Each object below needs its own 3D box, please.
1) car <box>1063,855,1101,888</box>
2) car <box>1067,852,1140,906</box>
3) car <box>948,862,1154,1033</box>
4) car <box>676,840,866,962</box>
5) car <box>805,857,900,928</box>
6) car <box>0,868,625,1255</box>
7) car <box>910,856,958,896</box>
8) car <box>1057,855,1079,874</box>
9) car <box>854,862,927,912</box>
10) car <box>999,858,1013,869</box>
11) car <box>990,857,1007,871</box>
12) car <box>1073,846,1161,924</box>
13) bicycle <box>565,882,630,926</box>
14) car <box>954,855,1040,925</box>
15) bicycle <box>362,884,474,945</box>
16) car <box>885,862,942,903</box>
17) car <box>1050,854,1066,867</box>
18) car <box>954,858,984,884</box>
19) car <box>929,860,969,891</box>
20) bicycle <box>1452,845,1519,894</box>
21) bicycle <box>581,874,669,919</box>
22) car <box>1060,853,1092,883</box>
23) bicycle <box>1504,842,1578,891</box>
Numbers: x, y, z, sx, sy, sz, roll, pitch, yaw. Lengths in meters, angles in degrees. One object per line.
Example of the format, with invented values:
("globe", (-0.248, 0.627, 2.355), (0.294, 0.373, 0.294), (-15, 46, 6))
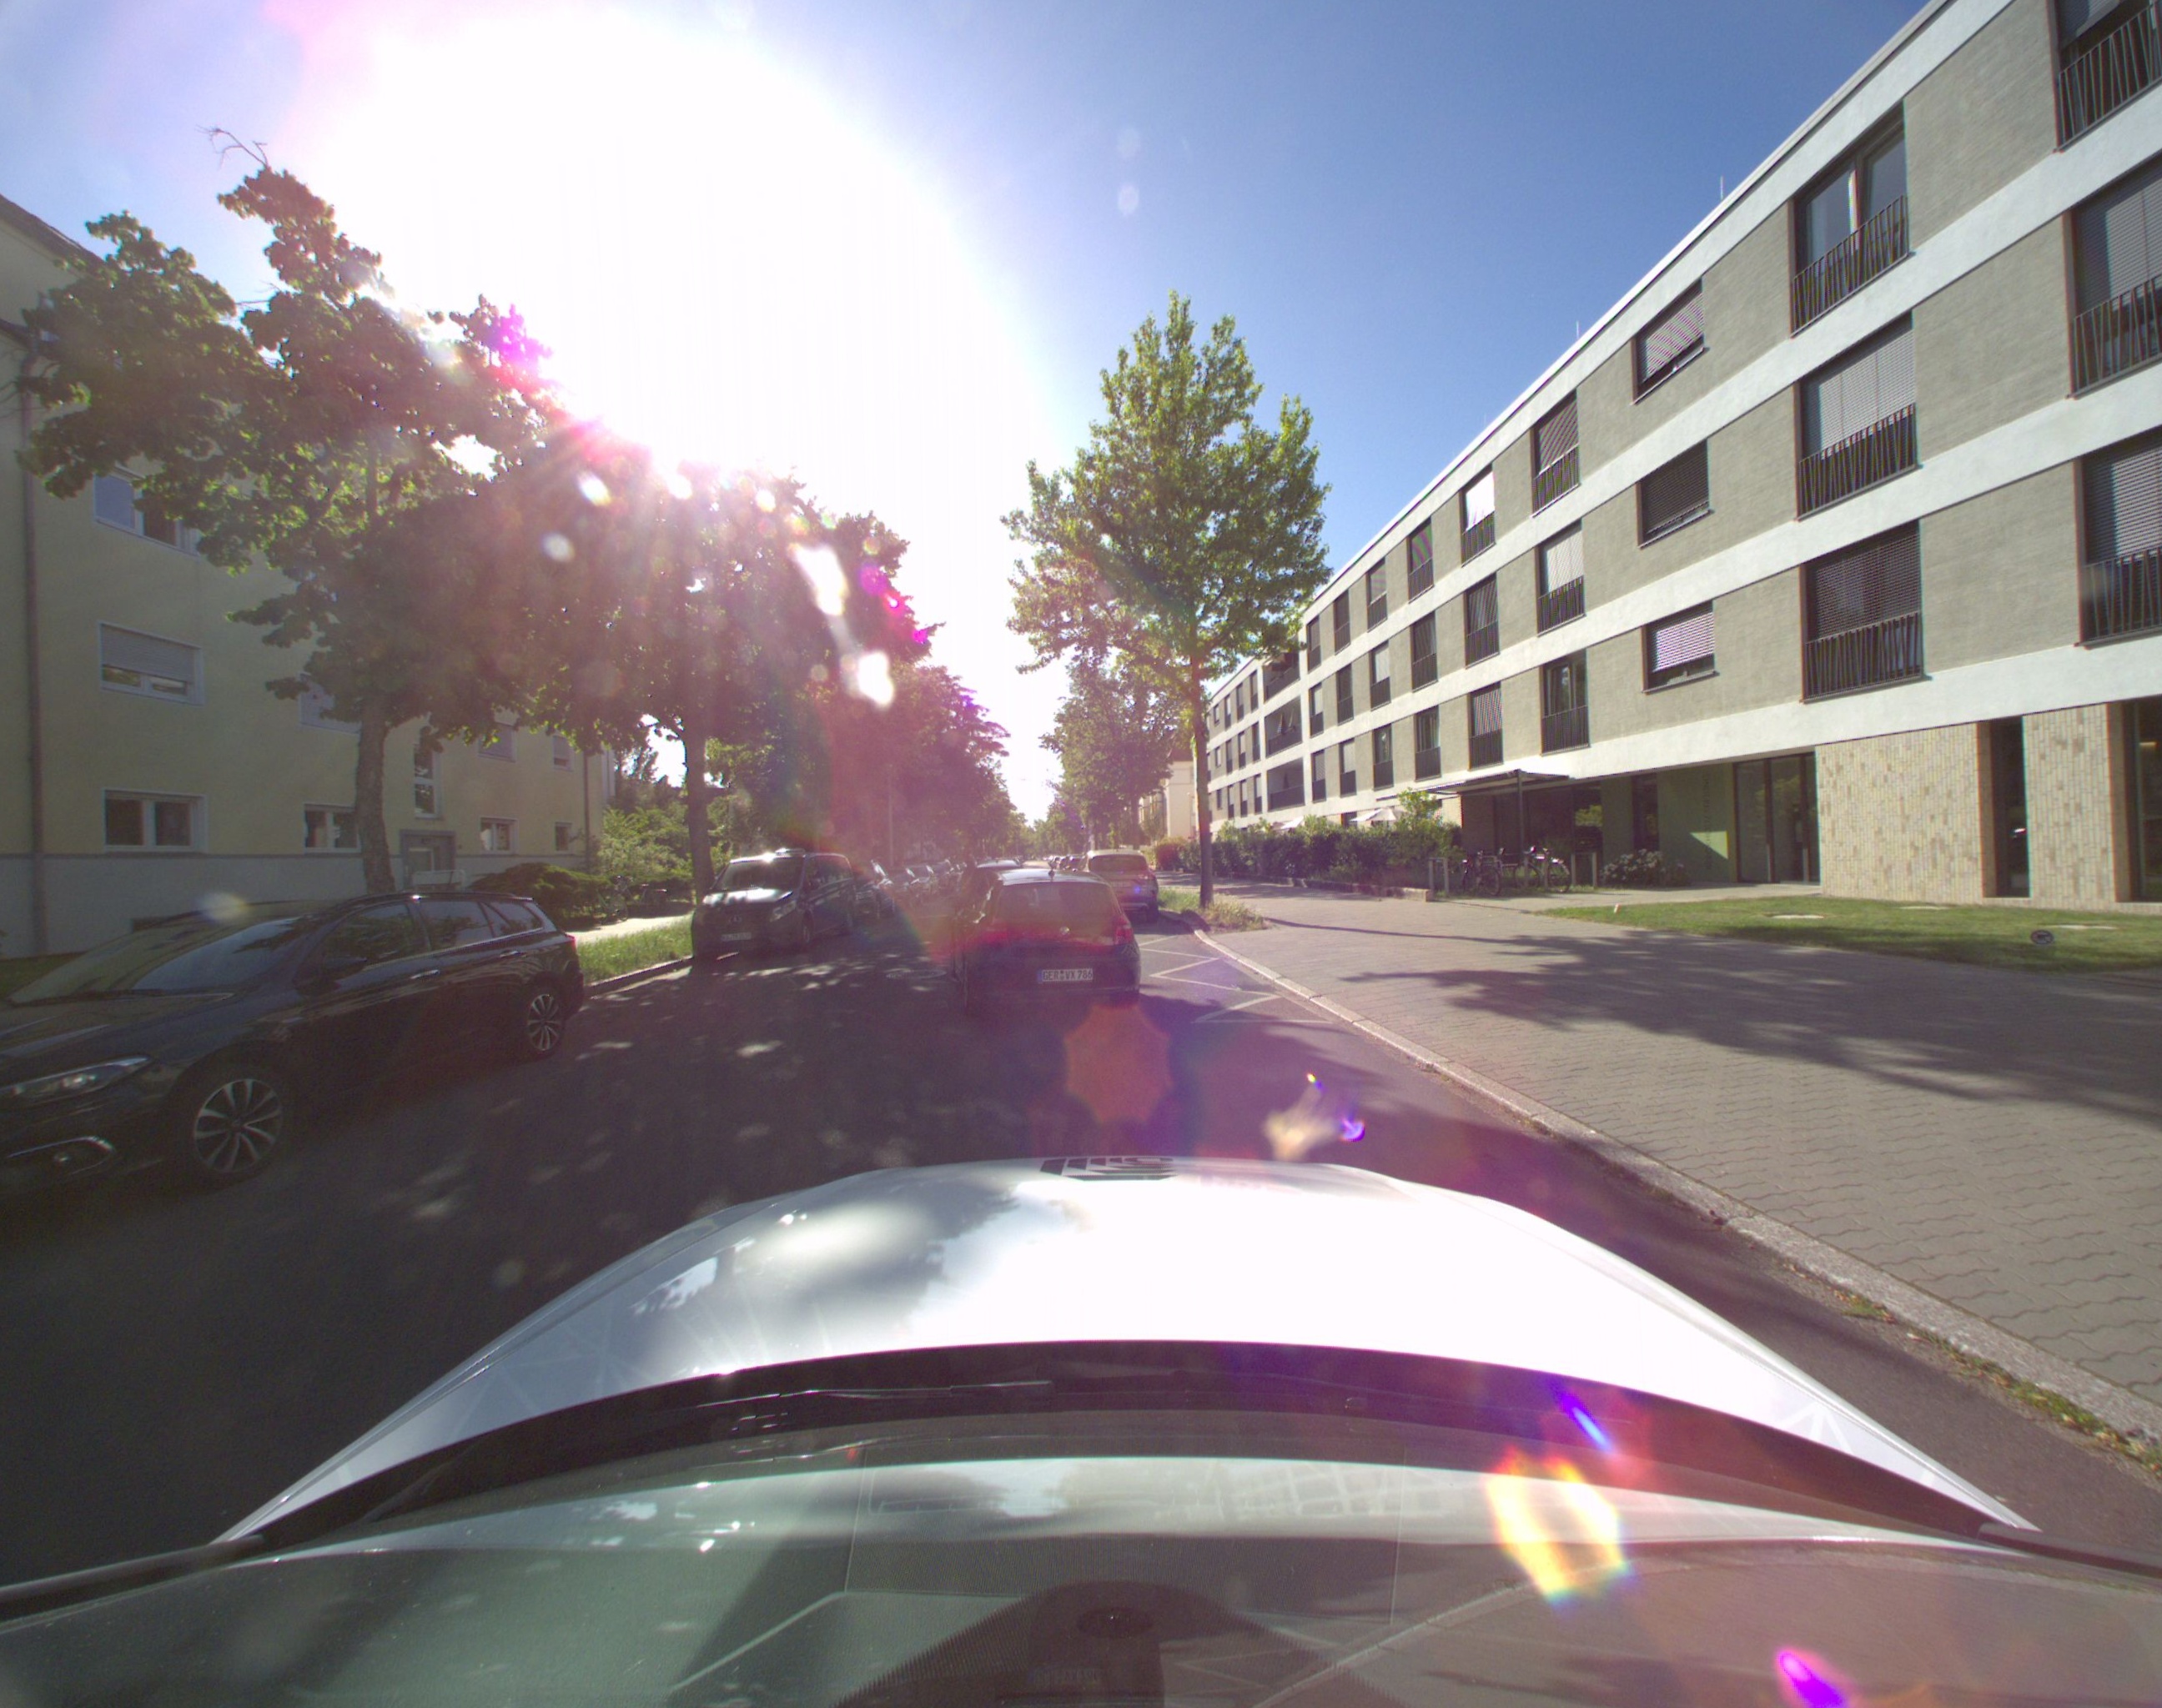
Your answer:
("car", (-0.005, 0.803, 39.814), (1.716, 1.528, 3.997), (0, 0, -2))
("car", (0.616, 0.728, 25.405), (1.692, 1.524, 3.991), (-1, 0, -7))
("car", (-0.517, 0.834, 8.961), (1.651, 1.397, 3.397), (-3, 0, -12))
("car", (-5.816, 0.774, 16.068), (1.822, 1.904, 5.137), (-4, 0, -2))
("car", (-5.995, 0.935, 21.857), (1.610, 1.611, 4.222), (-3, 0, -5))
("car", (-5.266, 0.958, 5.752), (1.504, 1.548, 4.772), (-4, 0, -3))
("car", (-6.734, 0.957, 37.668), (1.609, 1.679, 4.229), (-3, 0, -3))
("car", (-1.099, 0.860, 65.679), (1.716, 1.480, 3.848), (0, 0, -2))
("car", (-6.265, 1.045, 27.153), (1.609, 1.427, 4.053), (-3, 0, -3))
("car", (-9.957, 1.234, 108.093), (1.609, 1.392, 3.860), (-3, 0, -4))
("car", (-8.949, 1.120, 88.462), (1.609, 1.392, 3.860), (-3, 0, -4))
("car", (0.752, 0.677, 19.715), (1.843, 1.631, 4.408), (-1, -1, -1))
("bicycle", (-12.737, 1.295, 21.526), (0.593, 0.991, 1.926), (-3, 0, -3))
("car", (-2.110, 0.774, 19.541), (1.650, 1.425, 3.986), (-3, 0, -11))
("bicycle", (-12.603, 1.127, 15.571), (0.593, 0.991, 1.926), (-3, 0, -3))
("car", (-6.558, 1.080, 32.233), (1.609, 1.427, 3.721), (-3, 0, -4))
("car", (-2.808, 0.814, 100.897), (1.715, 1.480, 3.851), (-3, 0, 0))
("car", (-7.484, 1.104, 54.860), (1.609, 1.543, 3.860), (-3, 0, -4))
("car", (-6.984, 1.092, 43.359), (1.609, 1.452, 3.860), (-3, 0, -4))
("bicycle", (9.309, 0.349, 18.815), (0.545, 1.055, 1.688), (-3, 0, -5))
("bicycle", (-13.599, 1.251, 24.348), (2.148, 1.208, 0.687), (-3, 0, -14))
("car", (-0.310, 0.762, 45.808), (1.716, 1.641, 3.848), (0, 0, -2))
("bicycle", (10.664, 0.289, 18.937), (0.545, 1.055, 1.776), (-3, 0, -5))
